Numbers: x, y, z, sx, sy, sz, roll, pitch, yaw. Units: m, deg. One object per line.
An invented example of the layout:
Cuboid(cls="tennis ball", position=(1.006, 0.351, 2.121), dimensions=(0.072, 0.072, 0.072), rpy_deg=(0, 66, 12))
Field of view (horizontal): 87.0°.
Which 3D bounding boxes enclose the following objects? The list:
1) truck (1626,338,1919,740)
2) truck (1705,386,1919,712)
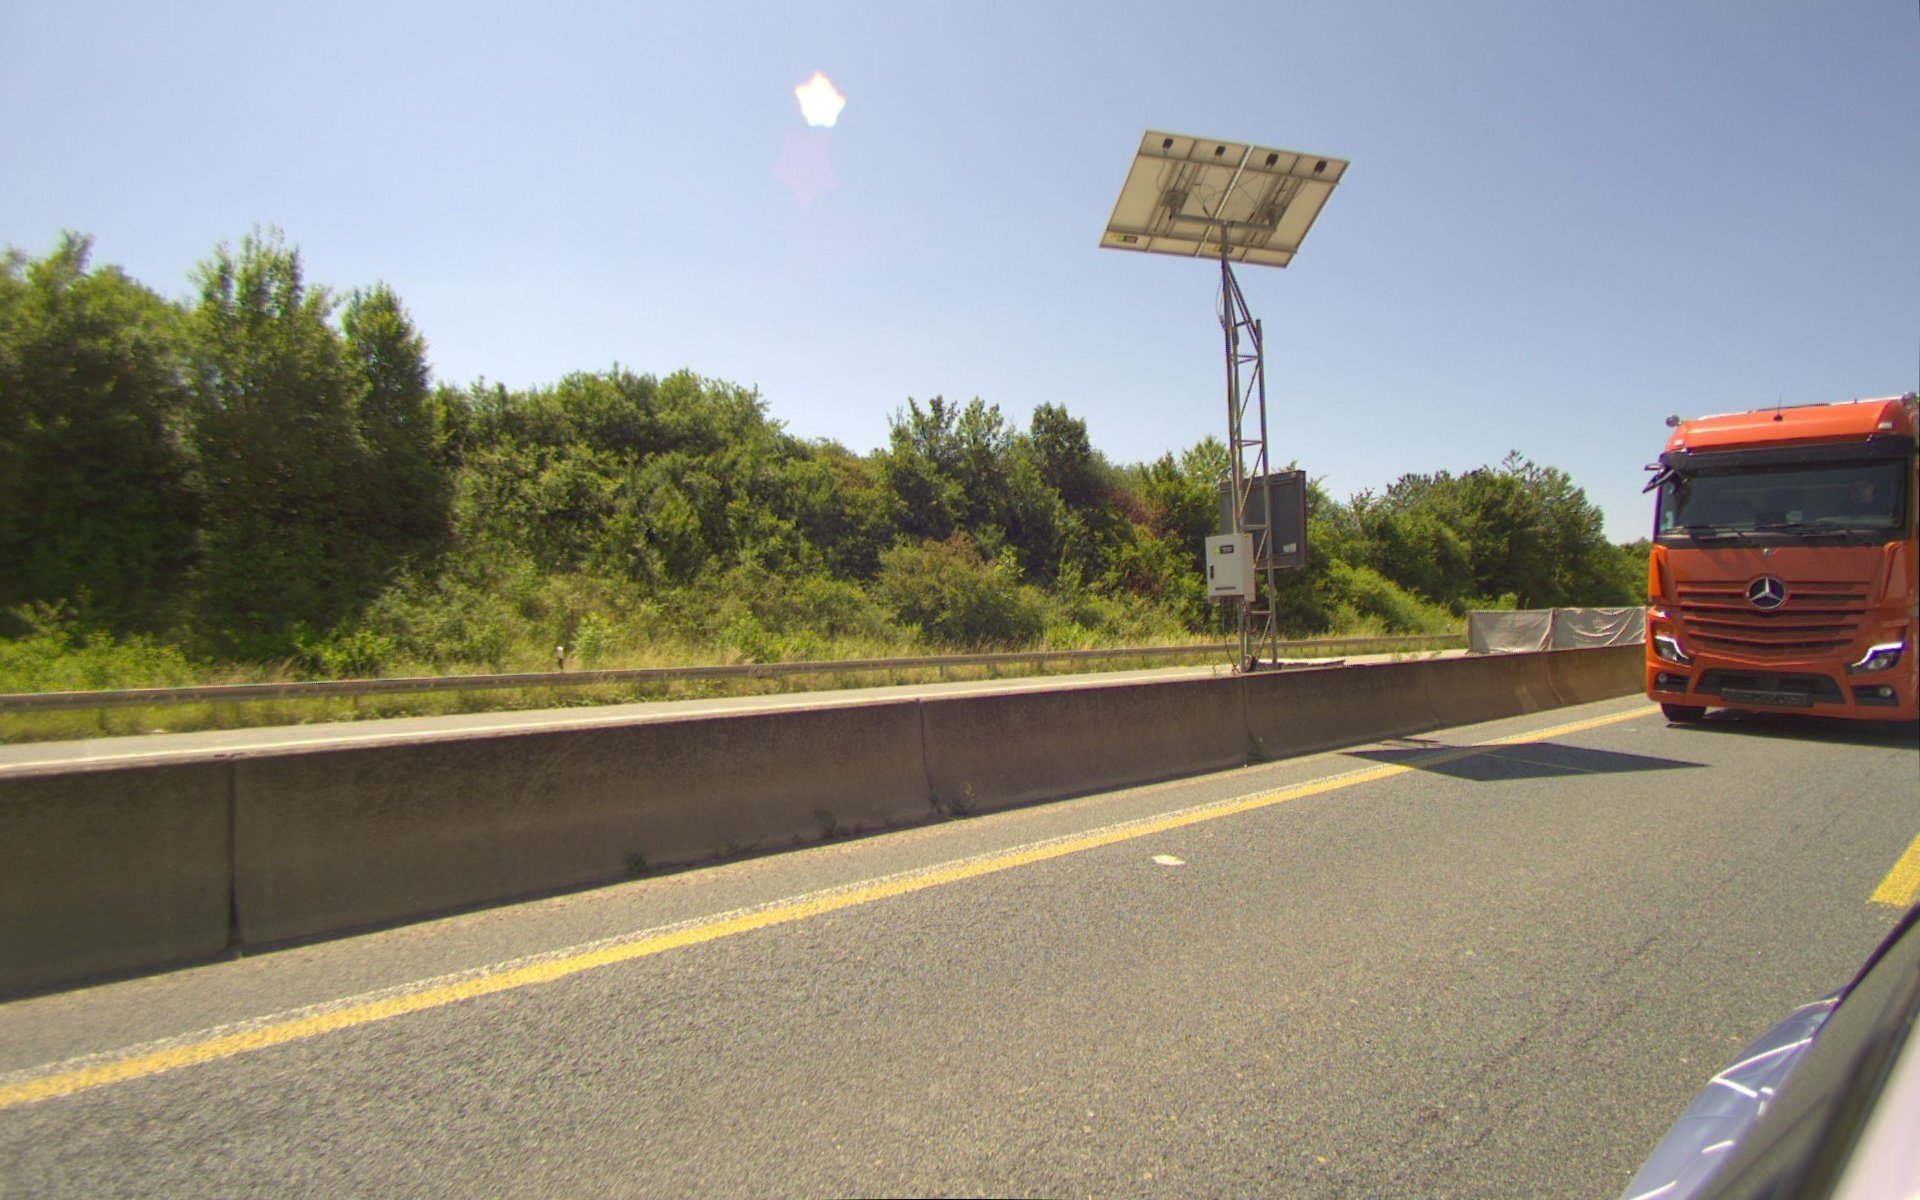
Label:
Cuboid(cls="truck", position=(11.429, -0.635, 13.291), dimensions=(6.606, 4.061, 2.687), rpy_deg=(0, 0, -40))
Cuboid(cls="truck", position=(16.323, -0.687, 17.568), dimensions=(12.989, 4.061, 2.686), rpy_deg=(-1, 0, -41))
